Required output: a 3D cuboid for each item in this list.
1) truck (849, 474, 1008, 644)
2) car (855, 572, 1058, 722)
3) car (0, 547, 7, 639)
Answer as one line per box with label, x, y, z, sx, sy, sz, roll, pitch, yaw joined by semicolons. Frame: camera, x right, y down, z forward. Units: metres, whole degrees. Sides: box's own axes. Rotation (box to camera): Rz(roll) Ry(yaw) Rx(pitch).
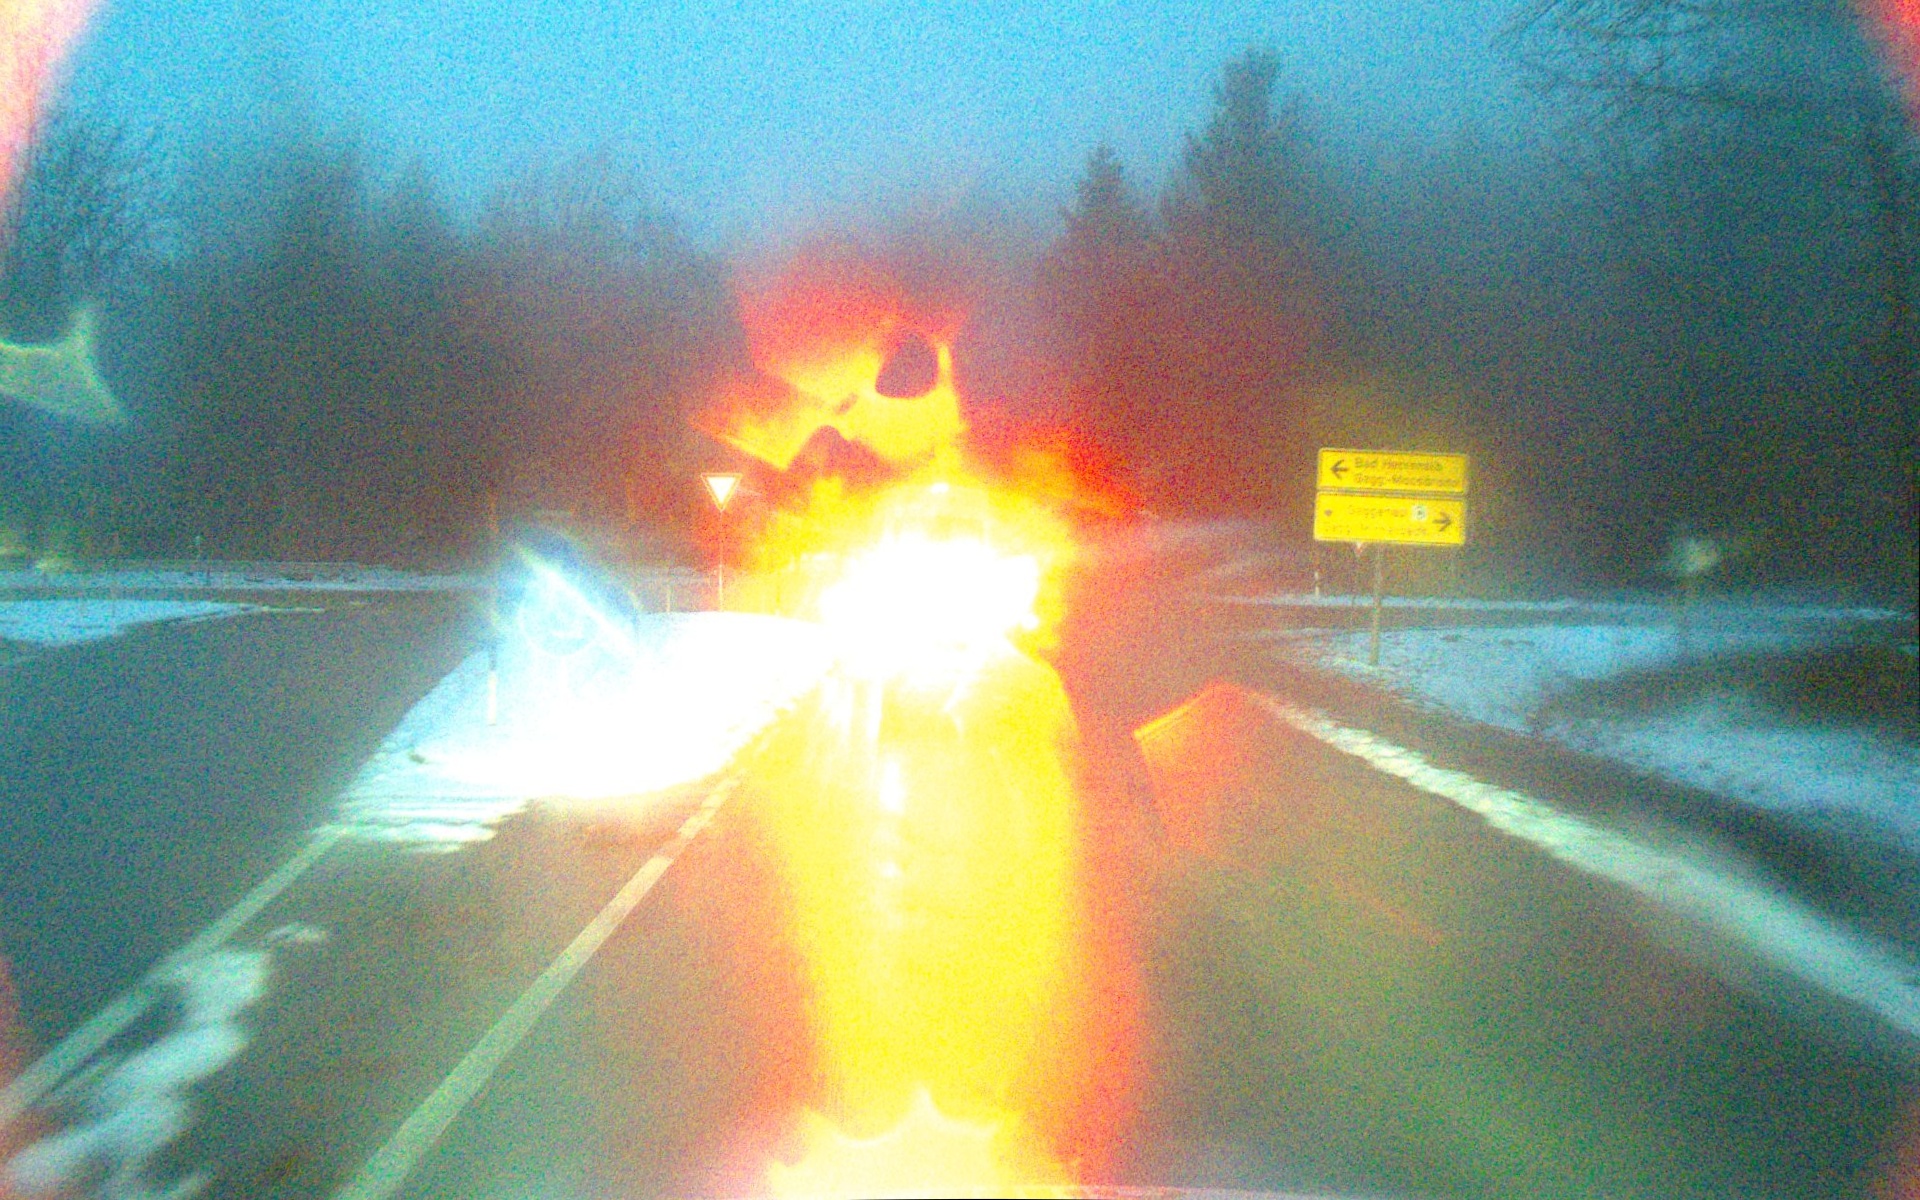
truck;-0.698;-0.738;30.558;2.038;2.793;5.307;2;1;-10
car;-0.078;0.413;17.679;1.883;1.299;4.000;2;2;-2
car;-22.825;-0.232;34.330;4.916;1.979;1.680;2;0;-13
